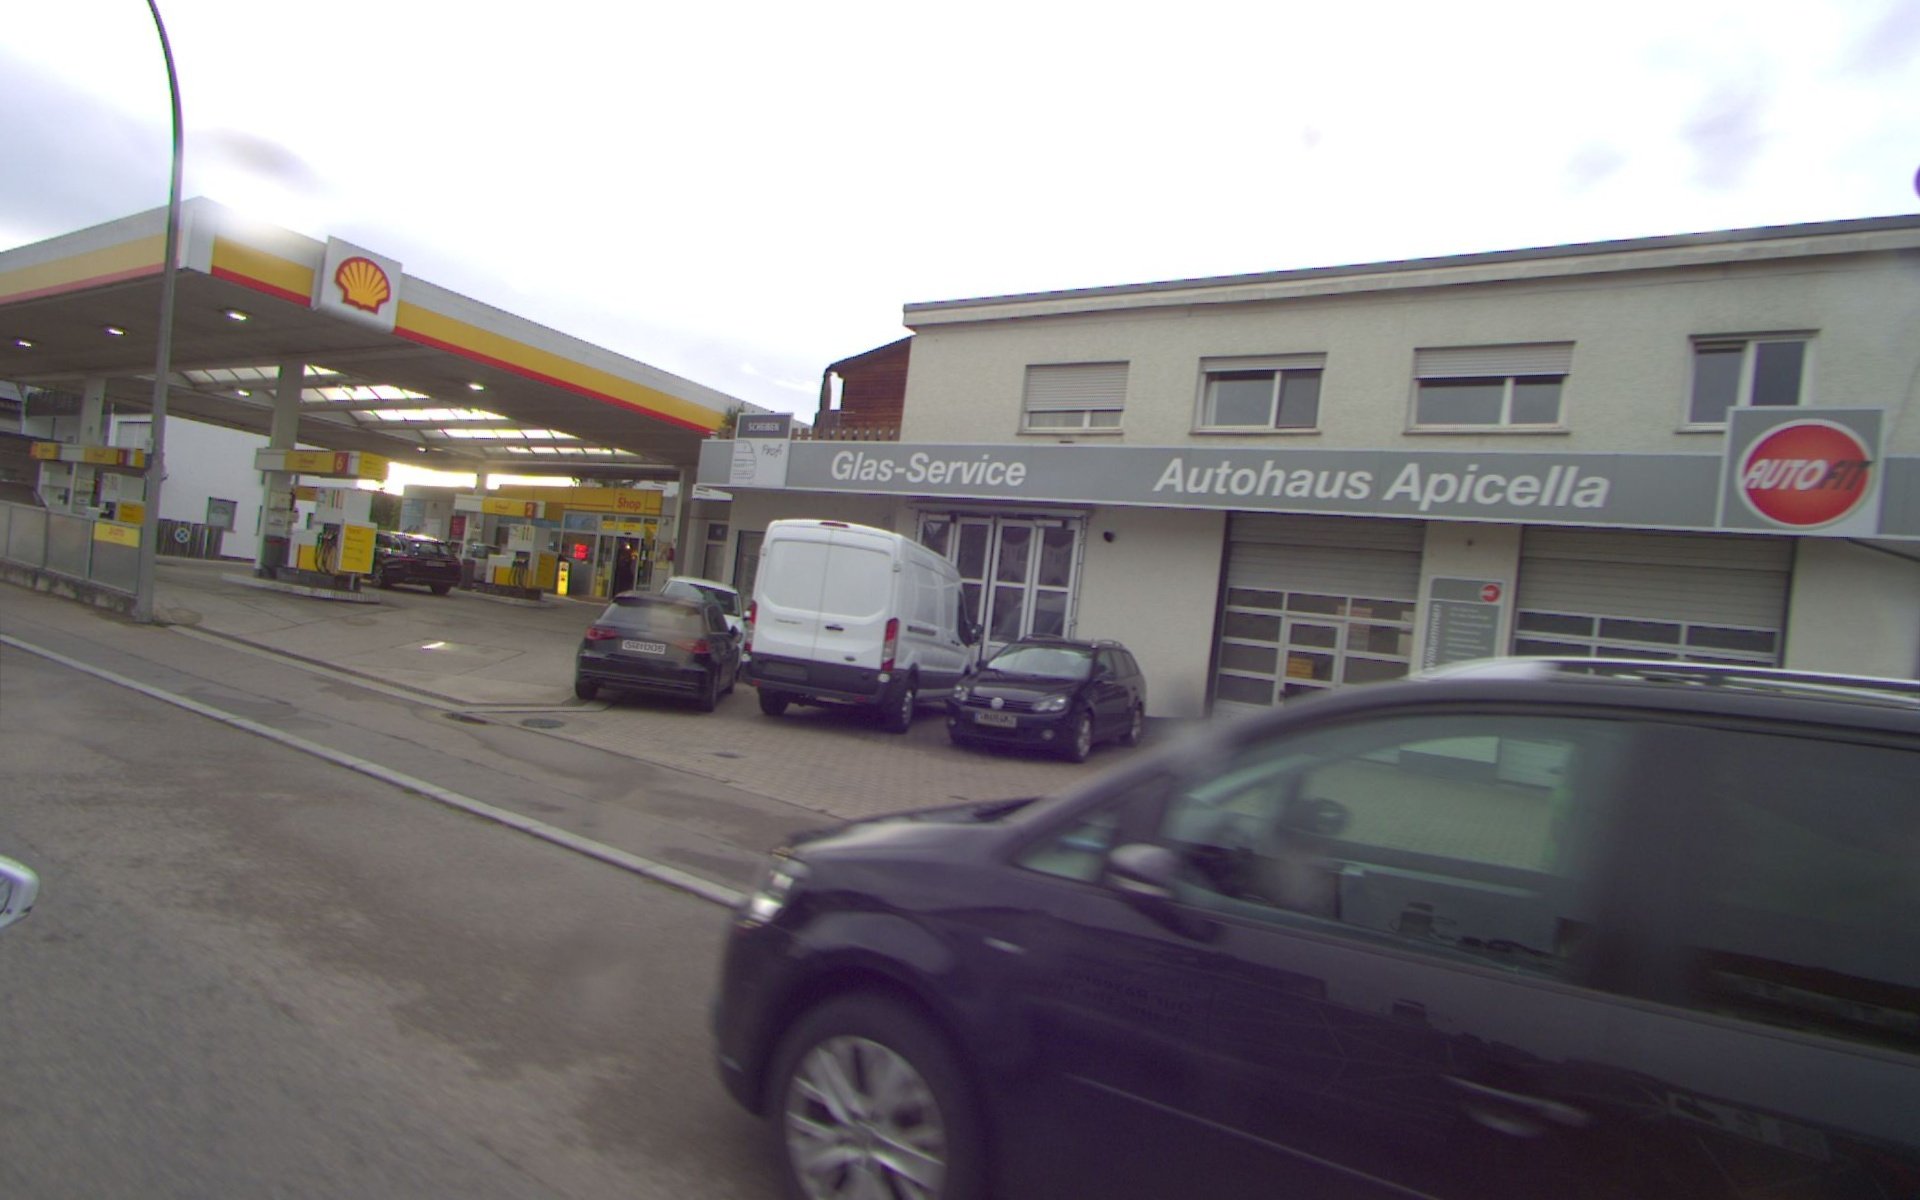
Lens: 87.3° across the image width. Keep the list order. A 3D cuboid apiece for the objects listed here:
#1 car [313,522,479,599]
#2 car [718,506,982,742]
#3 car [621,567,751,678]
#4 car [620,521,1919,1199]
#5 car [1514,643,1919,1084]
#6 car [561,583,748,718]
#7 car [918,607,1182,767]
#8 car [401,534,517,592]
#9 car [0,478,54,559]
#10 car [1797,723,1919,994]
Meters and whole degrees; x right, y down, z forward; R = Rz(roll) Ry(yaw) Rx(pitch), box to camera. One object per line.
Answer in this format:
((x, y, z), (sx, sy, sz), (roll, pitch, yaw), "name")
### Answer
((-15.119, -1.080, 26.901), (4.596, 1.483, 1.743), (7, -1, 32), "car")
((-1.289, 0.384, 14.400), (2.205, 2.550, 4.809), (7, -1, 10), "car")
((-5.216, 0.396, 19.393), (1.969, 1.660, 4.351), (8, -2, -14), "car")
((1.328, 0.873, 2.622), (3.933, 1.615, 1.997), (7, -1, 31), "car")
((5.090, 1.353, 4.928), (3.930, 1.703, 1.999), (7, -1, 28), "car")
((-4.042, 0.629, 13.948), (1.750, 1.391, 3.995), (8, -1, -8), "car")
((1.401, 1.157, 13.542), (1.864, 1.592, 4.311), (7, -1, 28), "car")
((-17.156, -1.266, 34.443), (3.717, 1.483, 1.743), (7, -1, 32), "car")
((-24.203, -2.158, 24.560), (3.932, 1.780, 1.823), (7, -1, 30), "car")
((7.896, 1.904, 6.278), (3.667, 1.540, 1.749), (7, 2, 28), "car")
